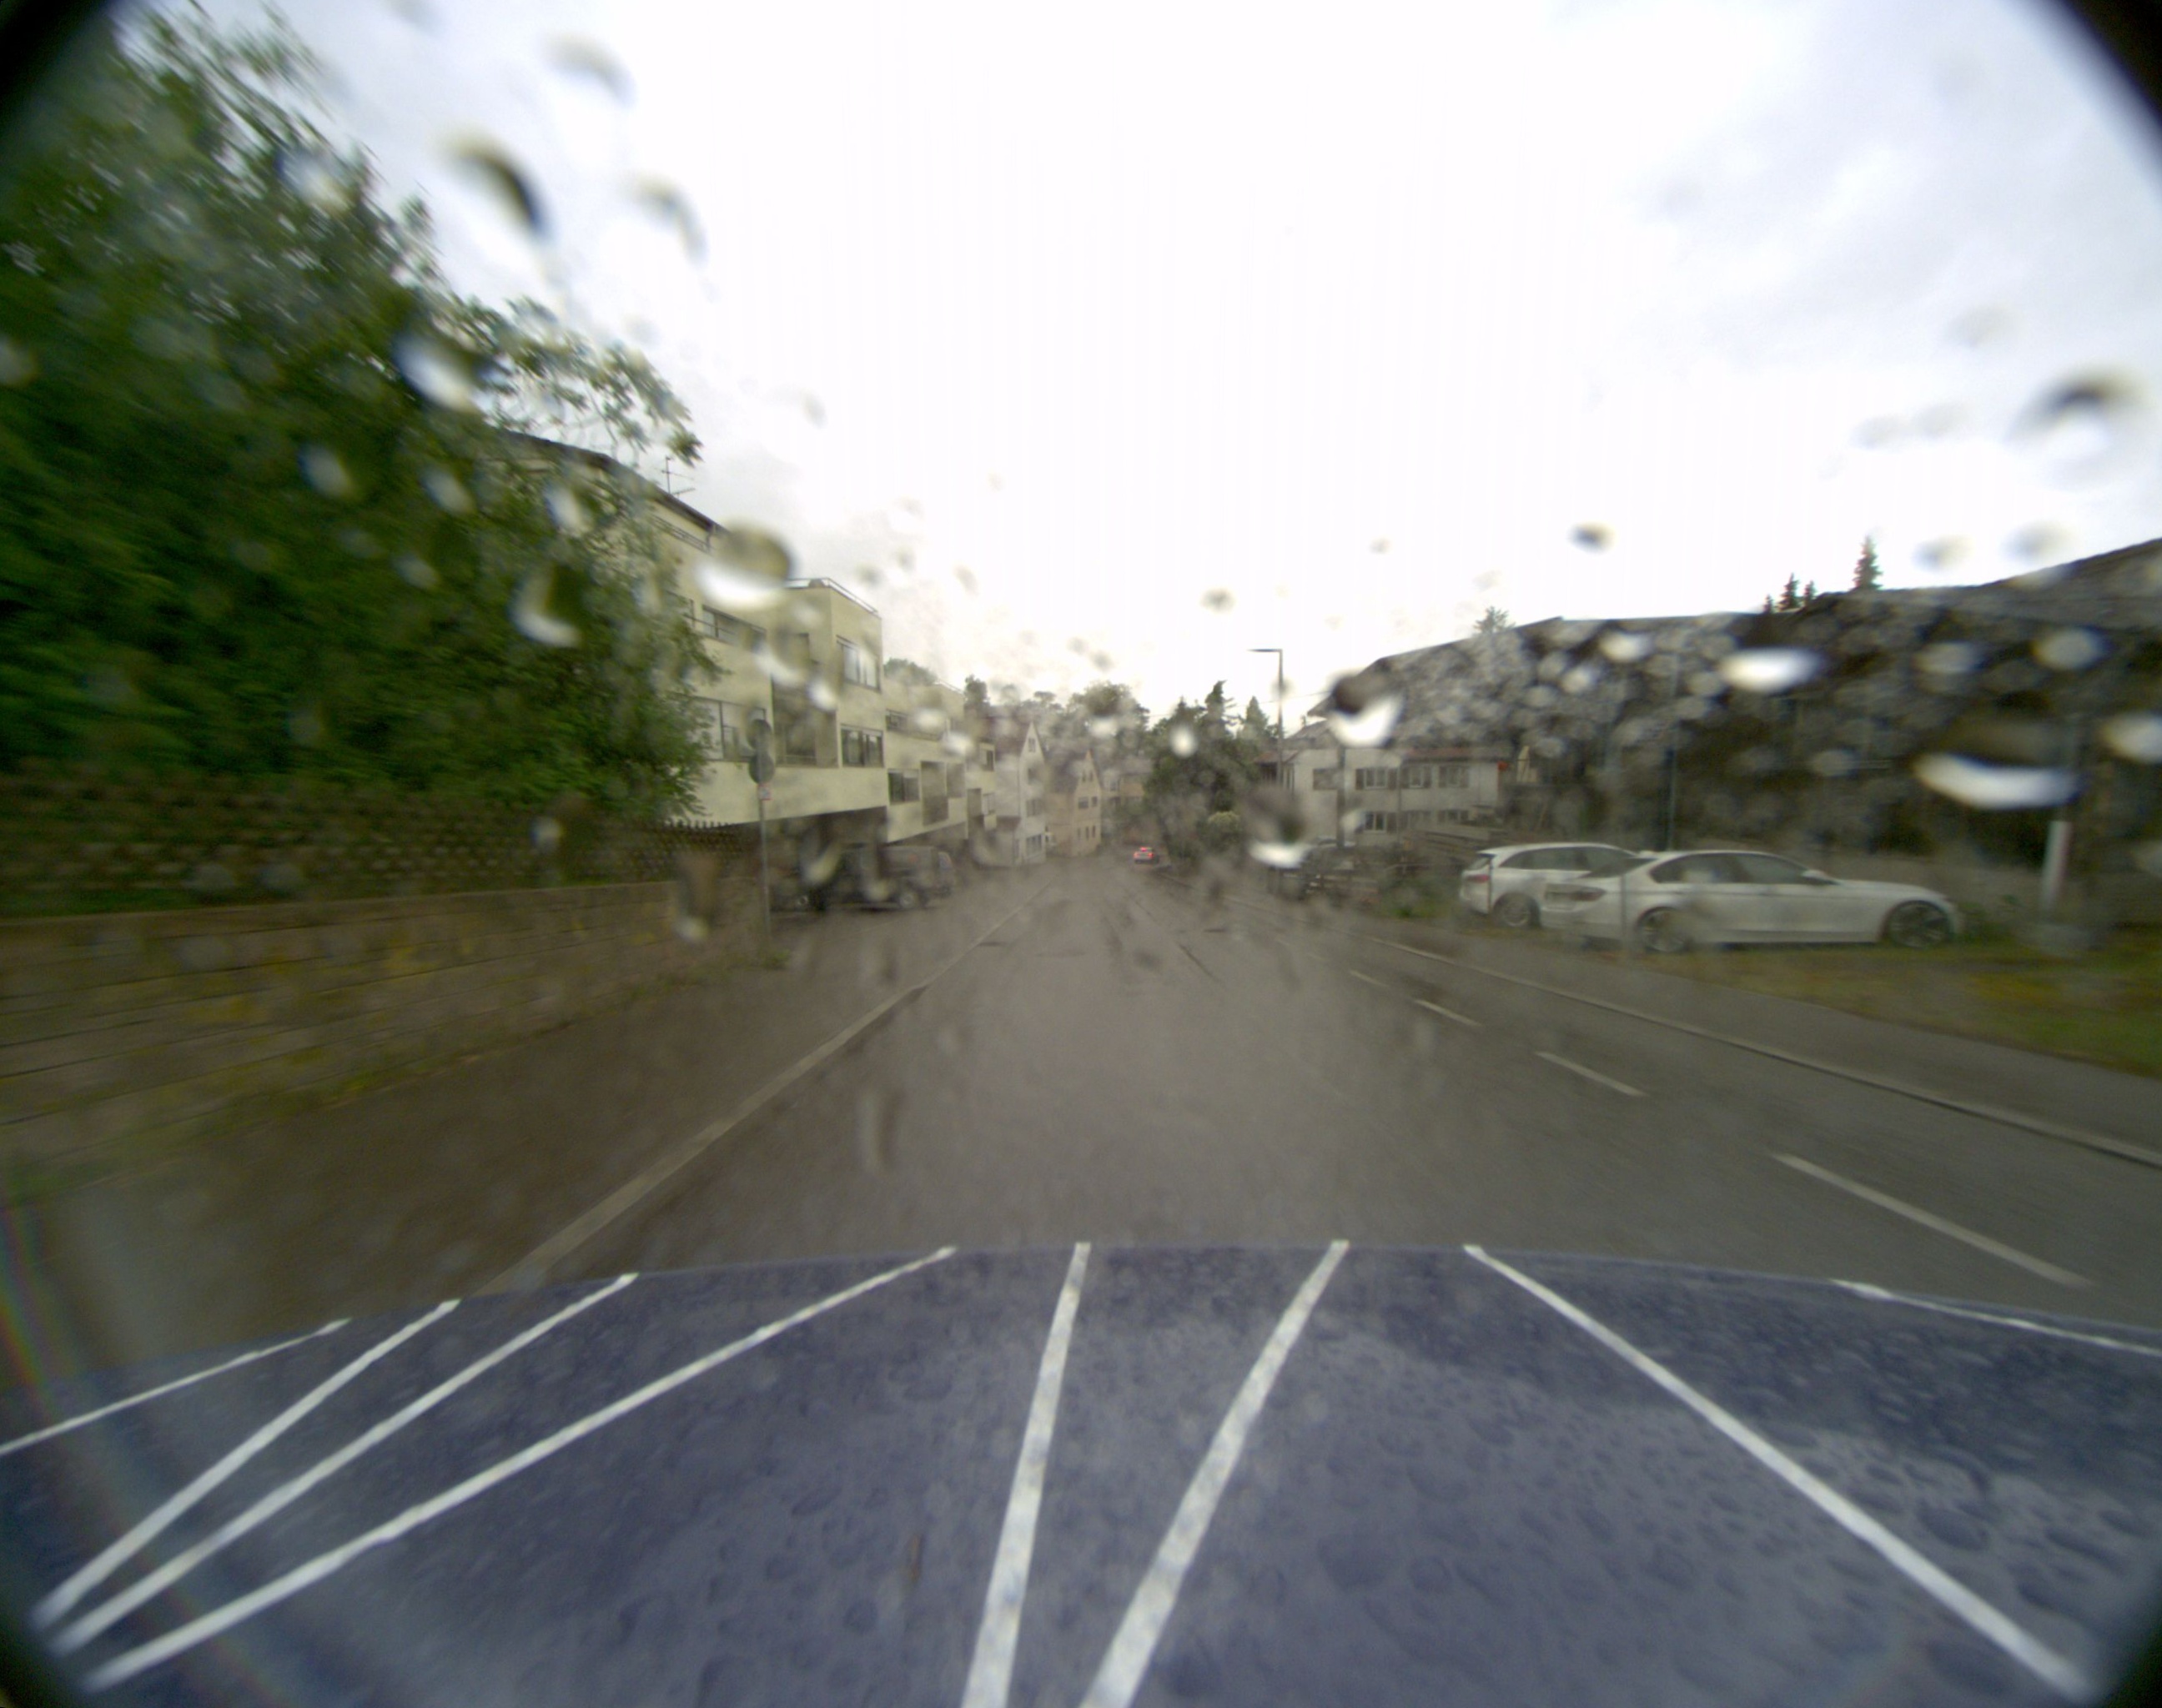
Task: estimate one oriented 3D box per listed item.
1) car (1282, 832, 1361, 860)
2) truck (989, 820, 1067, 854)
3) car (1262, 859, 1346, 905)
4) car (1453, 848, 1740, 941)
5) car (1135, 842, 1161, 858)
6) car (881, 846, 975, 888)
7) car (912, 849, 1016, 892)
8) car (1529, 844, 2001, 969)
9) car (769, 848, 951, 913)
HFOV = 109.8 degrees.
[{"bbox_3d":[13.848,-0.490,43.917,3.996,1.500,1.802,0,4,2],"label":"car"},{"bbox_3d":[-5.074,-1.636,73.091,6.964,2.688,2.142,5,3,15],"label":"truck"},{"bbox_3d":[8.005,0.945,27.698,1.899,1.433,4.446,1,1,2],"label":"car"},{"bbox_3d":[9.125,0.660,13.887,3.991,1.496,1.903,0,1,20],"label":"car"},{"bbox_3d":[6.311,-0.371,71.205,1.705,1.380,4.054,2,1,14],"label":"car"},{"bbox_3d":[-6.591,0.531,33.196,1.783,1.569,4.073,-2,1,28],"label":"car"},{"bbox_3d":[-4.808,0.654,31.605,1.783,1.569,4.074,-2,1,39],"label":"car"},{"bbox_3d":[9.042,0.636,10.538,4.503,1.496,1.902,0,1,13],"label":"car"},{"bbox_3d":[-6.351,0.730,22.286,4.719,1.809,2.000,0,1,0],"label":"car"}]
